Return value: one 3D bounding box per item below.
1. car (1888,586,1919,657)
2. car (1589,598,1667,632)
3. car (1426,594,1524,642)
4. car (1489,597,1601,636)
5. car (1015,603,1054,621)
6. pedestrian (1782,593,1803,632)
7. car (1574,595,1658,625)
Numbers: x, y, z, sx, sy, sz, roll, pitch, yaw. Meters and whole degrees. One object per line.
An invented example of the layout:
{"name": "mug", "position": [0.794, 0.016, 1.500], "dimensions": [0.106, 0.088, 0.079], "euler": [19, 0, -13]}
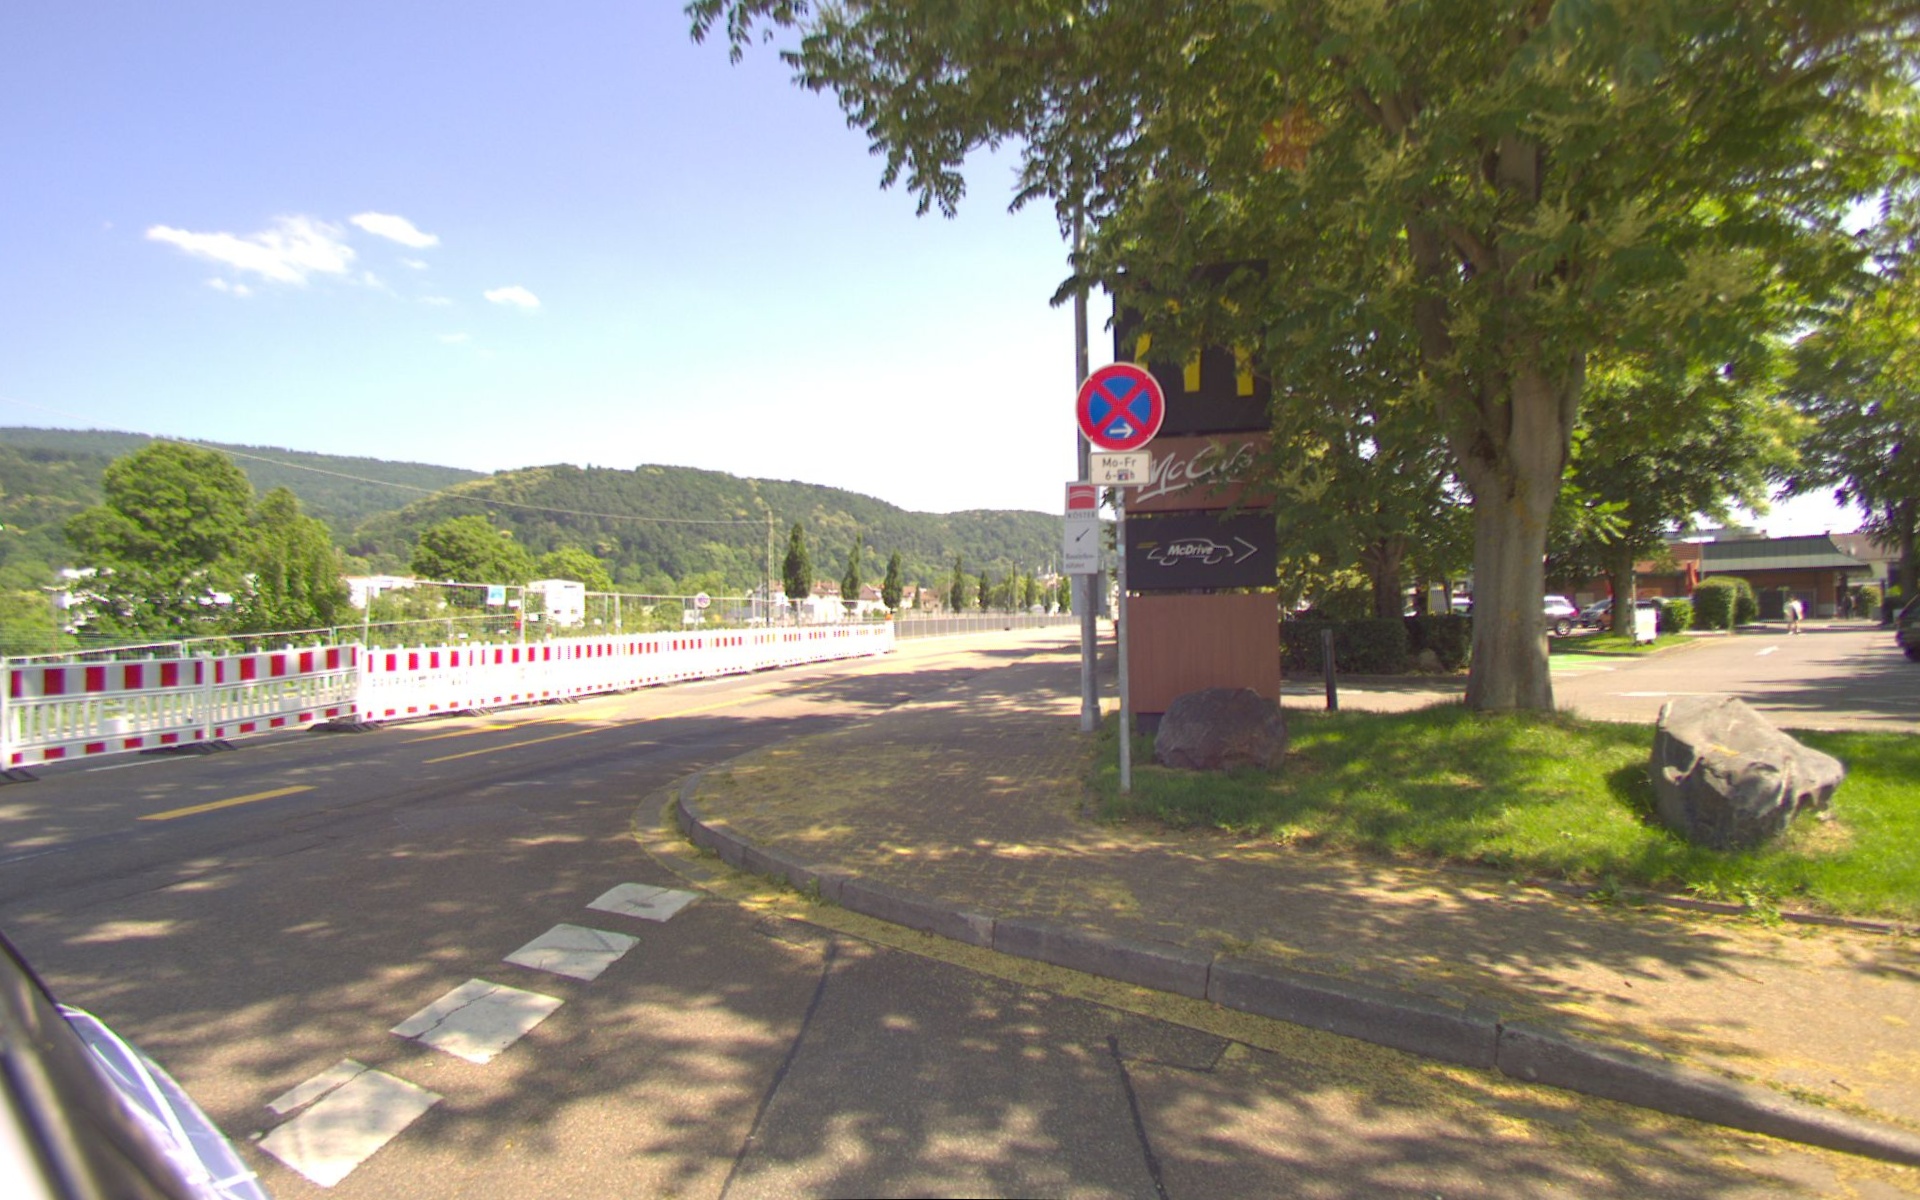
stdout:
{"name": "car", "position": [21.255, 0.352, 20.082], "dimensions": [4.016, 1.406, 1.626], "euler": [-2, -1, 2]}
{"name": "car", "position": [35.167, 0.811, 53.422], "dimensions": [1.646, 1.644, 3.722], "euler": [-2, -1, 2]}
{"name": "car", "position": [18.243, 0.625, 36.097], "dimensions": [2.055, 1.572, 5.006], "euler": [-1, -1, 15]}
{"name": "car", "position": [25.994, 0.739, 45.054], "dimensions": [3.756, 1.595, 1.906], "euler": [-2, -1, -1]}
{"name": "car", "position": [11.189, 1.794, 152.305], "dimensions": [5.627, 2.362, 2.280], "euler": [-5, -1, 44]}
{"name": "pedestrian", "position": [32.011, 0.481, 38.908], "dimensions": [0.515, 1.491, 0.528], "euler": [-3, -2, 43]}
{"name": "car", "position": [36.960, 0.572, 57.097], "dimensions": [3.564, 1.543, 1.620], "euler": [-2, -1, 3]}
